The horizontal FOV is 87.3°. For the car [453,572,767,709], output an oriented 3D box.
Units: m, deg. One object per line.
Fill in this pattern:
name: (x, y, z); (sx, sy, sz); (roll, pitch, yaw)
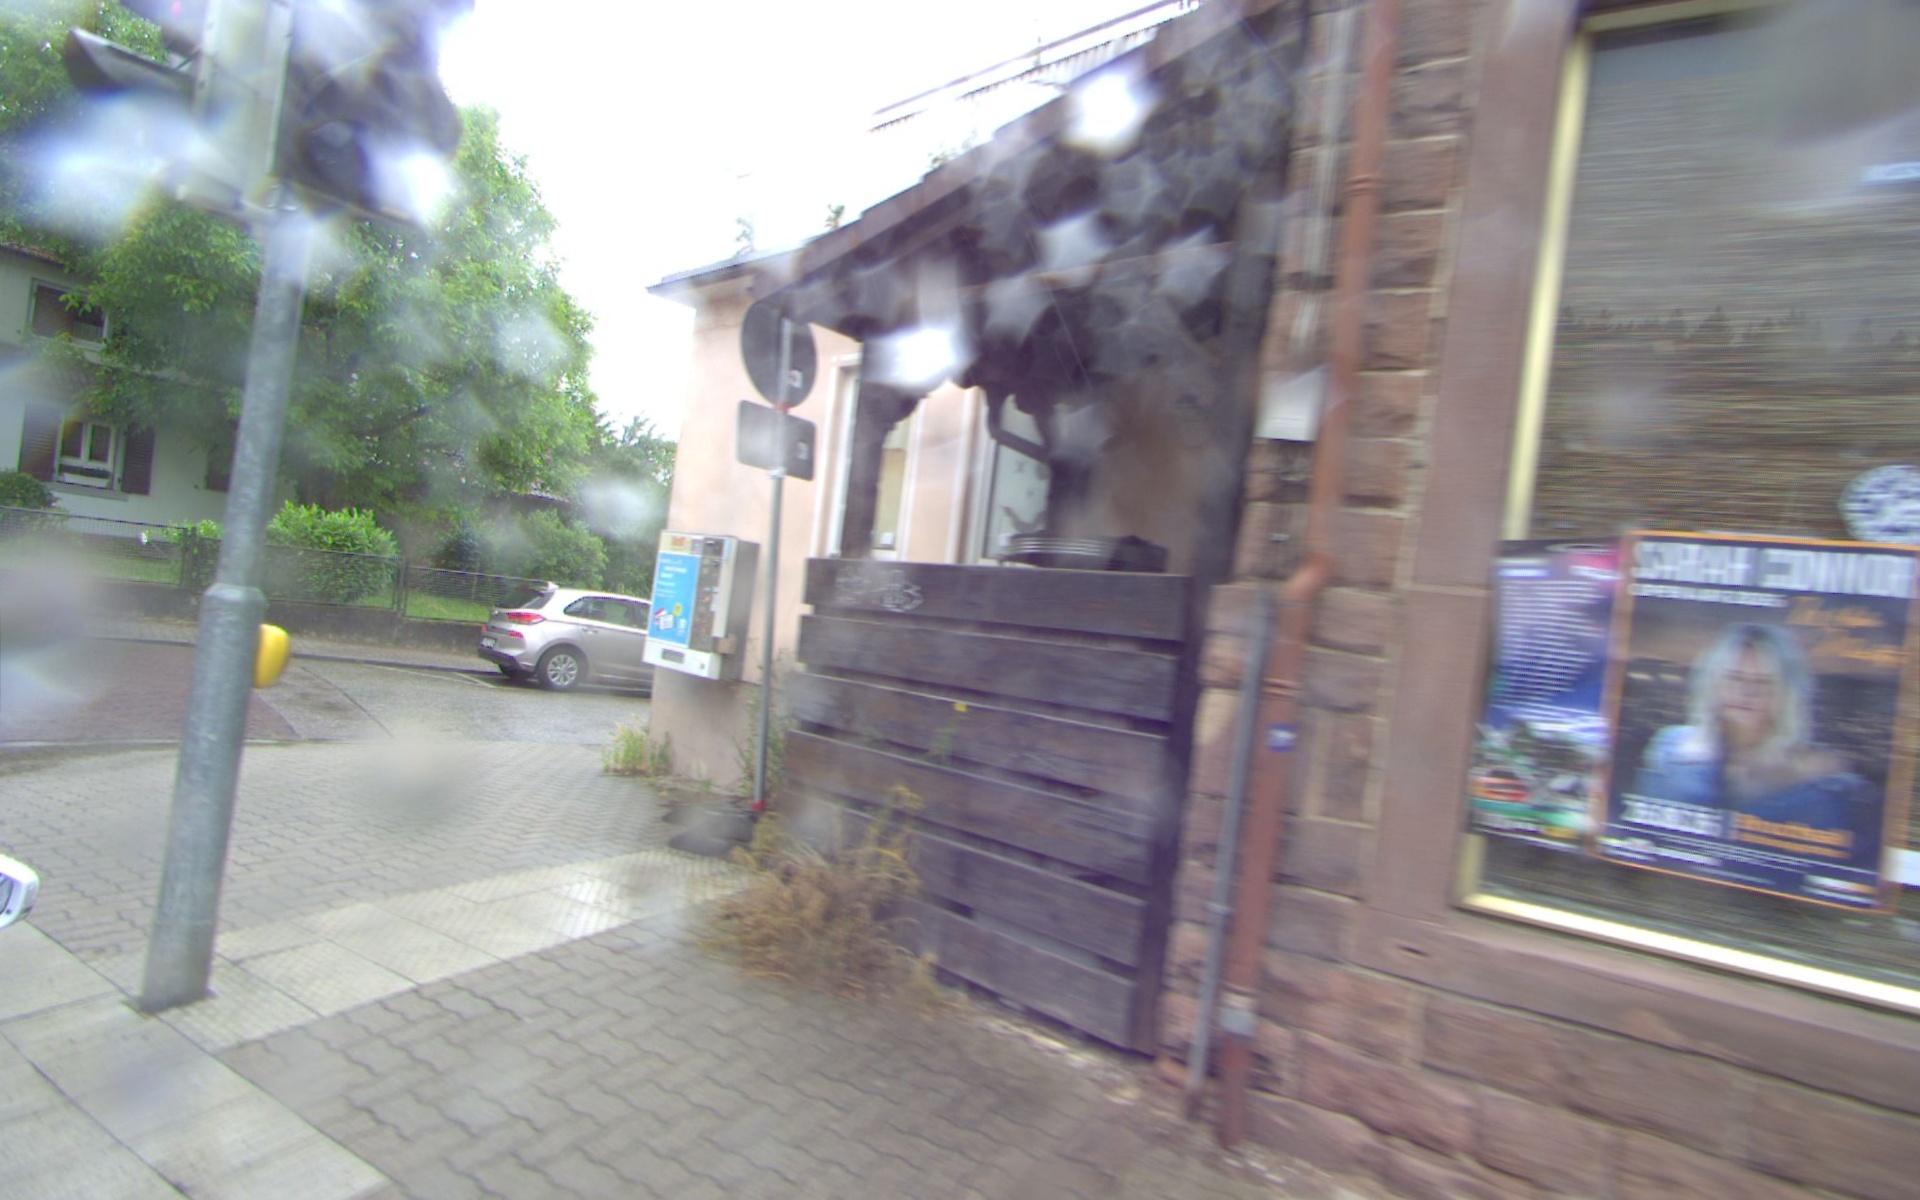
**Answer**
car: (-5.161, 0.656, 15.156); (3.980, 1.482, 1.762); (11, -4, -44)
